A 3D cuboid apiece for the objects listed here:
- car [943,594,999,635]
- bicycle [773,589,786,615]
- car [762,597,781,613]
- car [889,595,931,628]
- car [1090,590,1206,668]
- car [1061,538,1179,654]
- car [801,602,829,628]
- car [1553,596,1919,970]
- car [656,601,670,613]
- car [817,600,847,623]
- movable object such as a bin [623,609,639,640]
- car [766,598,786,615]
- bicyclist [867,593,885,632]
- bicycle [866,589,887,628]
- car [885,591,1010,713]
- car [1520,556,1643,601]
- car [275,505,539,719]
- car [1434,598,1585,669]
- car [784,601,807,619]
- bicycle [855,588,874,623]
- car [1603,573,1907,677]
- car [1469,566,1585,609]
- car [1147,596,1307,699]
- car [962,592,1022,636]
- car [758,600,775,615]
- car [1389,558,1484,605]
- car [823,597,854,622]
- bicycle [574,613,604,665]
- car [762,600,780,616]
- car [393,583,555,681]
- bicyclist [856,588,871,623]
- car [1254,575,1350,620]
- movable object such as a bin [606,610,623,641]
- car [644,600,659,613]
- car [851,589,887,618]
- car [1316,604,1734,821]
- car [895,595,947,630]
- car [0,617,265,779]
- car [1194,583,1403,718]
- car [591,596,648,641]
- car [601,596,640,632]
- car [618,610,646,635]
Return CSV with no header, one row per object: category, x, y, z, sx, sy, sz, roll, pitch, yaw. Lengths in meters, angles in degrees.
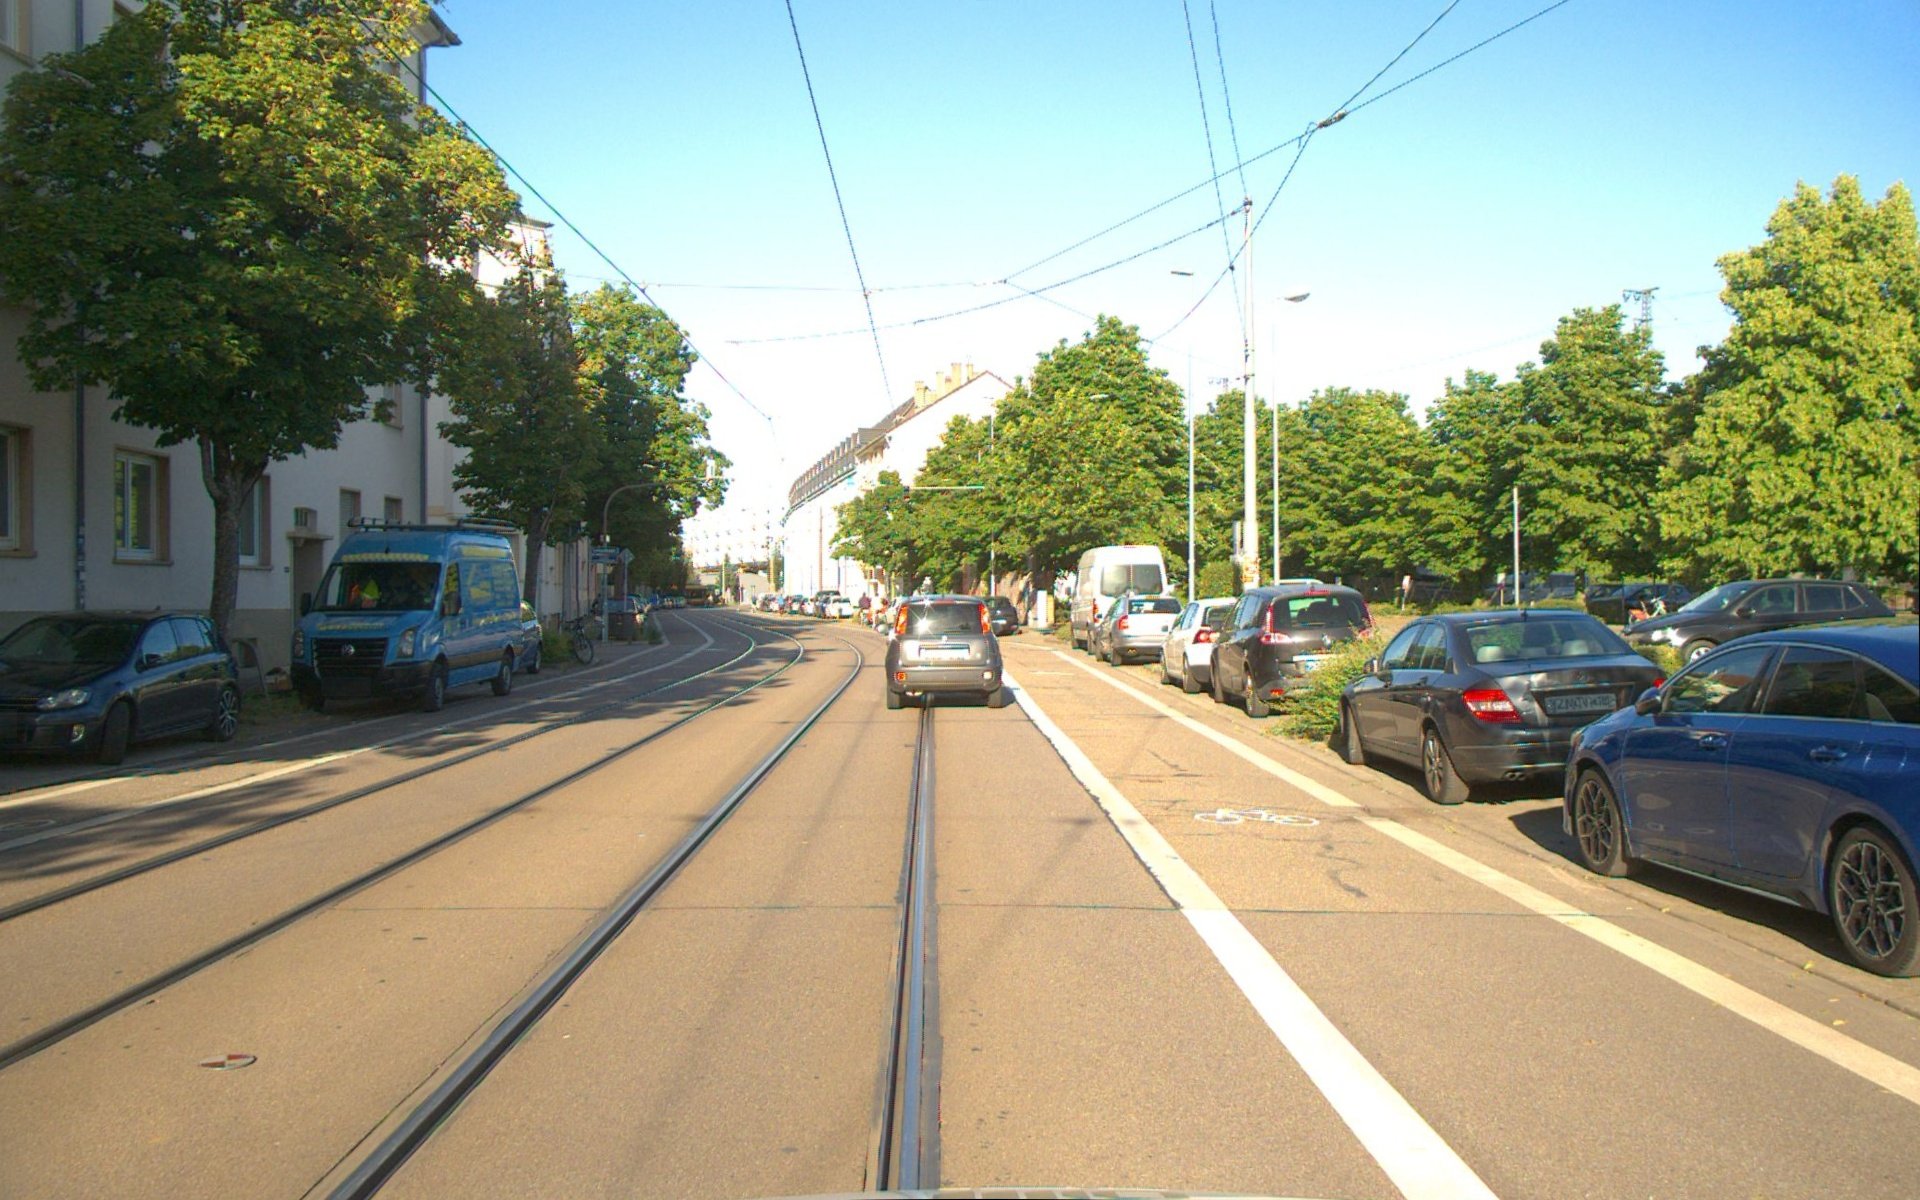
car,0.398,0.561,66.902,1.657,1.556,4.348,-2,0,-8
bicycle,-14.460,0.172,132.661,0.728,2.049,2.803,1,0,-12
car,-18.885,0.511,165.467,1.555,1.627,3.367,1,0,-12
car,-2.544,0.579,83.413,1.657,1.556,3.993,-2,0,-8
car,4.050,0.599,36.342,1.872,1.556,4.599,-1,0,-2
car,4.046,-0.094,42.998,2.136,2.712,6.088,-2,0,-2
car,-11.157,1.126,126.674,1.626,1.978,4.651,1,0,-11
car,4.591,0.741,7.954,1.693,1.490,4.338,1,0,-4
car,-38.332,0.873,213.622,1.676,1.523,3.713,1,0,-10
car,-8.982,0.782,115.678,1.626,1.599,3.865,1,0,-11
movable object such as a bin,-10.764,0.813,54.125,0.475,1.005,0.658,1,0,-9
car,-17.683,0.634,158.859,1.555,1.627,3.367,1,0,-12
bicyclist,-3.886,0.562,76.567,0.687,1.790,0.755,1,0,-12
bicycle,-3.878,0.387,76.634,0.663,1.777,2.151,1,0,-12
car,-0.207,0.683,23.846,1.616,1.568,4.233,1,0,-1
car,26.614,-0.907,70.856,4.597,1.847,1.958,1,0,-10
car,-8.246,0.174,25.383,1.976,2.875,6.031,1,0,0
car,8.585,0.502,26.054,1.282,1.051,3.055,1,0,-2
car,-14.057,0.838,141.497,1.555,1.429,3.367,-4,1,-12
bicycle,-4.973,0.275,86.145,0.663,1.777,2.151,1,0,-12
car,11.588,0.363,24.260,3.628,1.424,1.758,1,0,-2
car,25.722,-0.565,75.108,4.597,1.847,1.958,1,0,-10
car,4.291,0.723,27.192,1.693,1.539,4.248,1,0,-4
car,1.161,0.525,62.248,1.657,1.556,3.993,-2,0,-8
car,-20.792,0.807,177.559,1.555,1.627,3.367,1,0,-12
car,23.970,-0.920,83.281,4.115,2.280,2.136,-1,0,-14
car,-8.201,0.635,111.462,1.626,1.599,3.489,1,0,-11
bicycle,-8.609,0.897,38.441,0.502,1.154,2.027,1,0,-8
car,-19.655,0.801,171.722,1.555,1.627,3.367,1,0,-12
car,-9.481,0.587,32.655,1.756,1.587,4.641,7,0,-1
bicyclist,-5.013,0.281,86.068,0.687,1.790,0.755,1,0,-12
car,16.691,-0.112,80.753,4.198,2.049,1.771,-2,0,-7
movable object such as a bin,-11.279,0.822,54.030,0.475,1.005,0.658,1,0,-9
car,-36.903,0.730,197.685,1.676,1.523,3.713,1,0,-10
car,-5.162,0.195,93.582,1.606,1.534,3.388,-3,0,-11
car,4.412,0.789,13.715,1.693,1.490,4.495,1,0,-4
car,-1.862,0.580,78.640,1.660,1.556,3.986,-2,0,-13
car,-8.977,0.922,17.341,1.618,1.450,4.189,1,0,-1
car,4.458,0.621,22.407,1.693,1.632,4.339,1,0,-4
car,-12.145,0.641,59.105,1.656,1.557,3.993,1,0,-7
car,-16.637,0.672,80.926,1.624,1.697,4.279,1,0,-15
car,-21.425,1.474,108.191,1.776,1.534,4.668,1,0,-11
